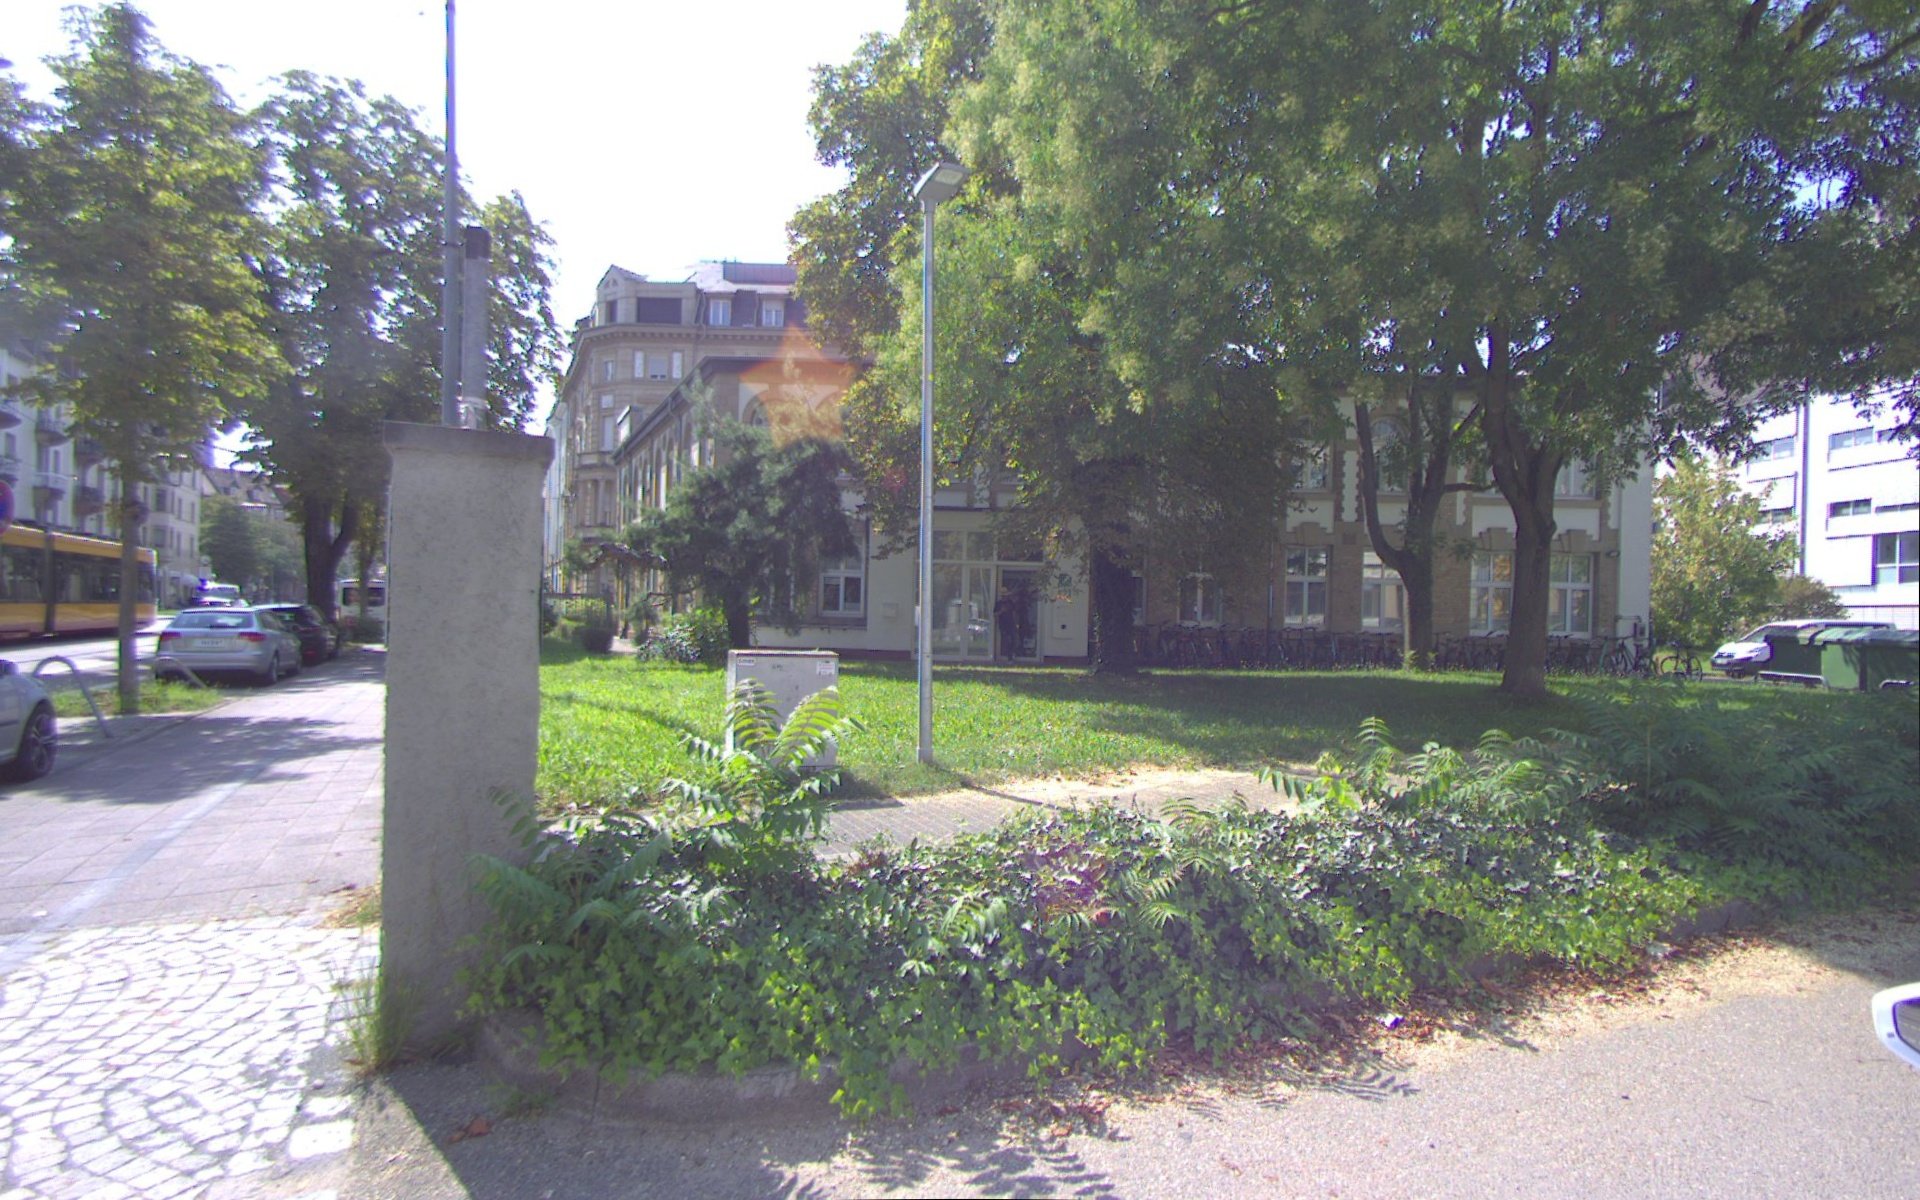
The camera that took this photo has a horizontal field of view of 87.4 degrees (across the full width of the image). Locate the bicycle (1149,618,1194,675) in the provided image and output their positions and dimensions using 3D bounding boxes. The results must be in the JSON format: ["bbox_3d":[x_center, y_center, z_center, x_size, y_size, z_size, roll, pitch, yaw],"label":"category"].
[{"bbox_3d":[5.256,1.144,25.089,0.756,1.320,2.528,1,-1,5],"label":"bicycle"}]

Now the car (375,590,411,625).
[{"bbox_3d":[-38.129,0.509,67.518,1.977,2.263,3.967,1,-1,-31],"label":"car"}]

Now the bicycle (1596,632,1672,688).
[{"bbox_3d":[16.907,1.472,25.265,0.597,1.320,2.175,1,-1,5],"label":"bicycle"}]

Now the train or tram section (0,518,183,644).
[{"bbox_3d":[-31.475,-0.603,35.713,3.462,3.753,12.330,2,-1,-26],"label":"train or tram section"}]

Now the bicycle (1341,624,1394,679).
[{"bbox_3d":[10.324,1.288,25.521,0.597,1.320,2.175,1,-1,5],"label":"bicycle"}]

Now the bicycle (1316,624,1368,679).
[{"bbox_3d":[9.675,1.278,25.521,0.614,1.320,2.274,1,-1,5],"label":"bicycle"}]

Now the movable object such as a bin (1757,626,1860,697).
[{"bbox_3d":[18.813,1.345,22.292,1.226,1.463,1.206,2,0,-5],"label":"movable object such as a bin"}]

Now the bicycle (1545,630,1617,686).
[{"bbox_3d":[15.555,1.433,25.222,0.597,1.320,2.175,1,-1,5],"label":"bicycle"}]

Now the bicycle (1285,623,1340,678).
[{"bbox_3d":[8.909,1.256,25.490,0.756,1.320,2.274,1,-1,5],"label":"bicycle"}]

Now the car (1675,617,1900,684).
[{"bbox_3d":[26.081,1.565,31.854,4.982,1.906,2.503,1,-1,4],"label":"car"}]

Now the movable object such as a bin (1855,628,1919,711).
[{"bbox_3d":[18.112,1.317,19.154,1.080,1.501,1.101,2,0,-5],"label":"movable object such as a bin"}]

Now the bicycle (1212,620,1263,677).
[{"bbox_3d":[6.946,1.196,25.270,0.756,1.320,2.528,1,-1,5],"label":"bicycle"}]

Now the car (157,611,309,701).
[{"bbox_3d":[-13.587,1.001,18.980,1.624,1.531,3.618,2,-2,-25],"label":"car"}]

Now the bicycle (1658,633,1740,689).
[{"bbox_3d":[18.557,1.512,25.285,0.597,1.320,2.175,1,-1,5],"label":"bicycle"}]

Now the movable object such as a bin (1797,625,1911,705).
[{"bbox_3d":[18.290,1.310,20.577,1.226,1.515,1.206,2,0,-5],"label":"movable object such as a bin"}]

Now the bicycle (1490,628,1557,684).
[{"bbox_3d":[14.139,1.377,25.260,0.597,1.320,2.175,1,-1,5],"label":"bicycle"}]

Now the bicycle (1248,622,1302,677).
[{"bbox_3d":[7.964,1.230,25.520,0.756,1.320,2.528,1,-1,5],"label":"bicycle"}]

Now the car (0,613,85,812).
[{"bbox_3d":[-7.785,0.828,6.765,1.772,1.465,3.712,0,-1,-23],"label":"car"}]

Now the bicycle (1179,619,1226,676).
[{"bbox_3d":[6.053,1.164,25.199,0.756,1.320,2.528,1,-1,5],"label":"bicycle"}]

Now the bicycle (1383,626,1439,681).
[{"bbox_3d":[11.463,1.329,25.584,0.597,1.320,2.175,1,-1,5],"label":"bicycle"}]

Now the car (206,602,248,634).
[{"bbox_3d":[-59.808,1.438,82.063,2.223,2.473,3.969,2,-1,-29],"label":"car"}]

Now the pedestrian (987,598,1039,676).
[{"bbox_3d":[1.296,0.904,24.658,1.110,1.853,0.734,1,-1,-11],"label":"pedestrian"}]

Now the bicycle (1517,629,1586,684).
[{"bbox_3d":[14.894,1.398,25.365,0.597,1.320,2.175,1,-1,5],"label":"bicycle"}]

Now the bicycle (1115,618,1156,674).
[{"bbox_3d":[4.396,1.130,25.281,0.756,1.320,2.528,1,-1,5],"label":"bicycle"}]

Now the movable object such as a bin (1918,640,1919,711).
[{"bbox_3d":[18.362,1.343,17.931,1.226,1.451,1.331,2,0,-5],"label":"movable object such as a bin"}]

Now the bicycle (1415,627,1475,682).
[{"bbox_3d":[12.205,1.344,25.362,0.597,1.320,2.175,1,-1,5],"label":"bicycle"}]

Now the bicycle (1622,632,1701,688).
[{"bbox_3d":[17.577,1.484,25.228,0.597,1.320,2.175,1,-1,5],"label":"bicycle"}]

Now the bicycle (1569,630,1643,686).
[{"bbox_3d":[16.233,1.429,25.290,0.597,1.320,2.175,1,-1,5],"label":"bicycle"}]

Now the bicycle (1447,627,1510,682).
[{"bbox_3d":[13.059,1.349,25.357,0.597,1.320,2.175,1,-1,5],"label":"bicycle"}]

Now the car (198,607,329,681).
[{"bbox_3d":[-16.415,0.990,23.875,1.775,1.598,3.976,2,-1,-24],"label":"car"}]

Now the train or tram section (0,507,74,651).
[{"bbox_3d":[-26.166,-0.590,24.531,3.462,3.753,12.330,2,-1,-26],"label":"train or tram section"}]
